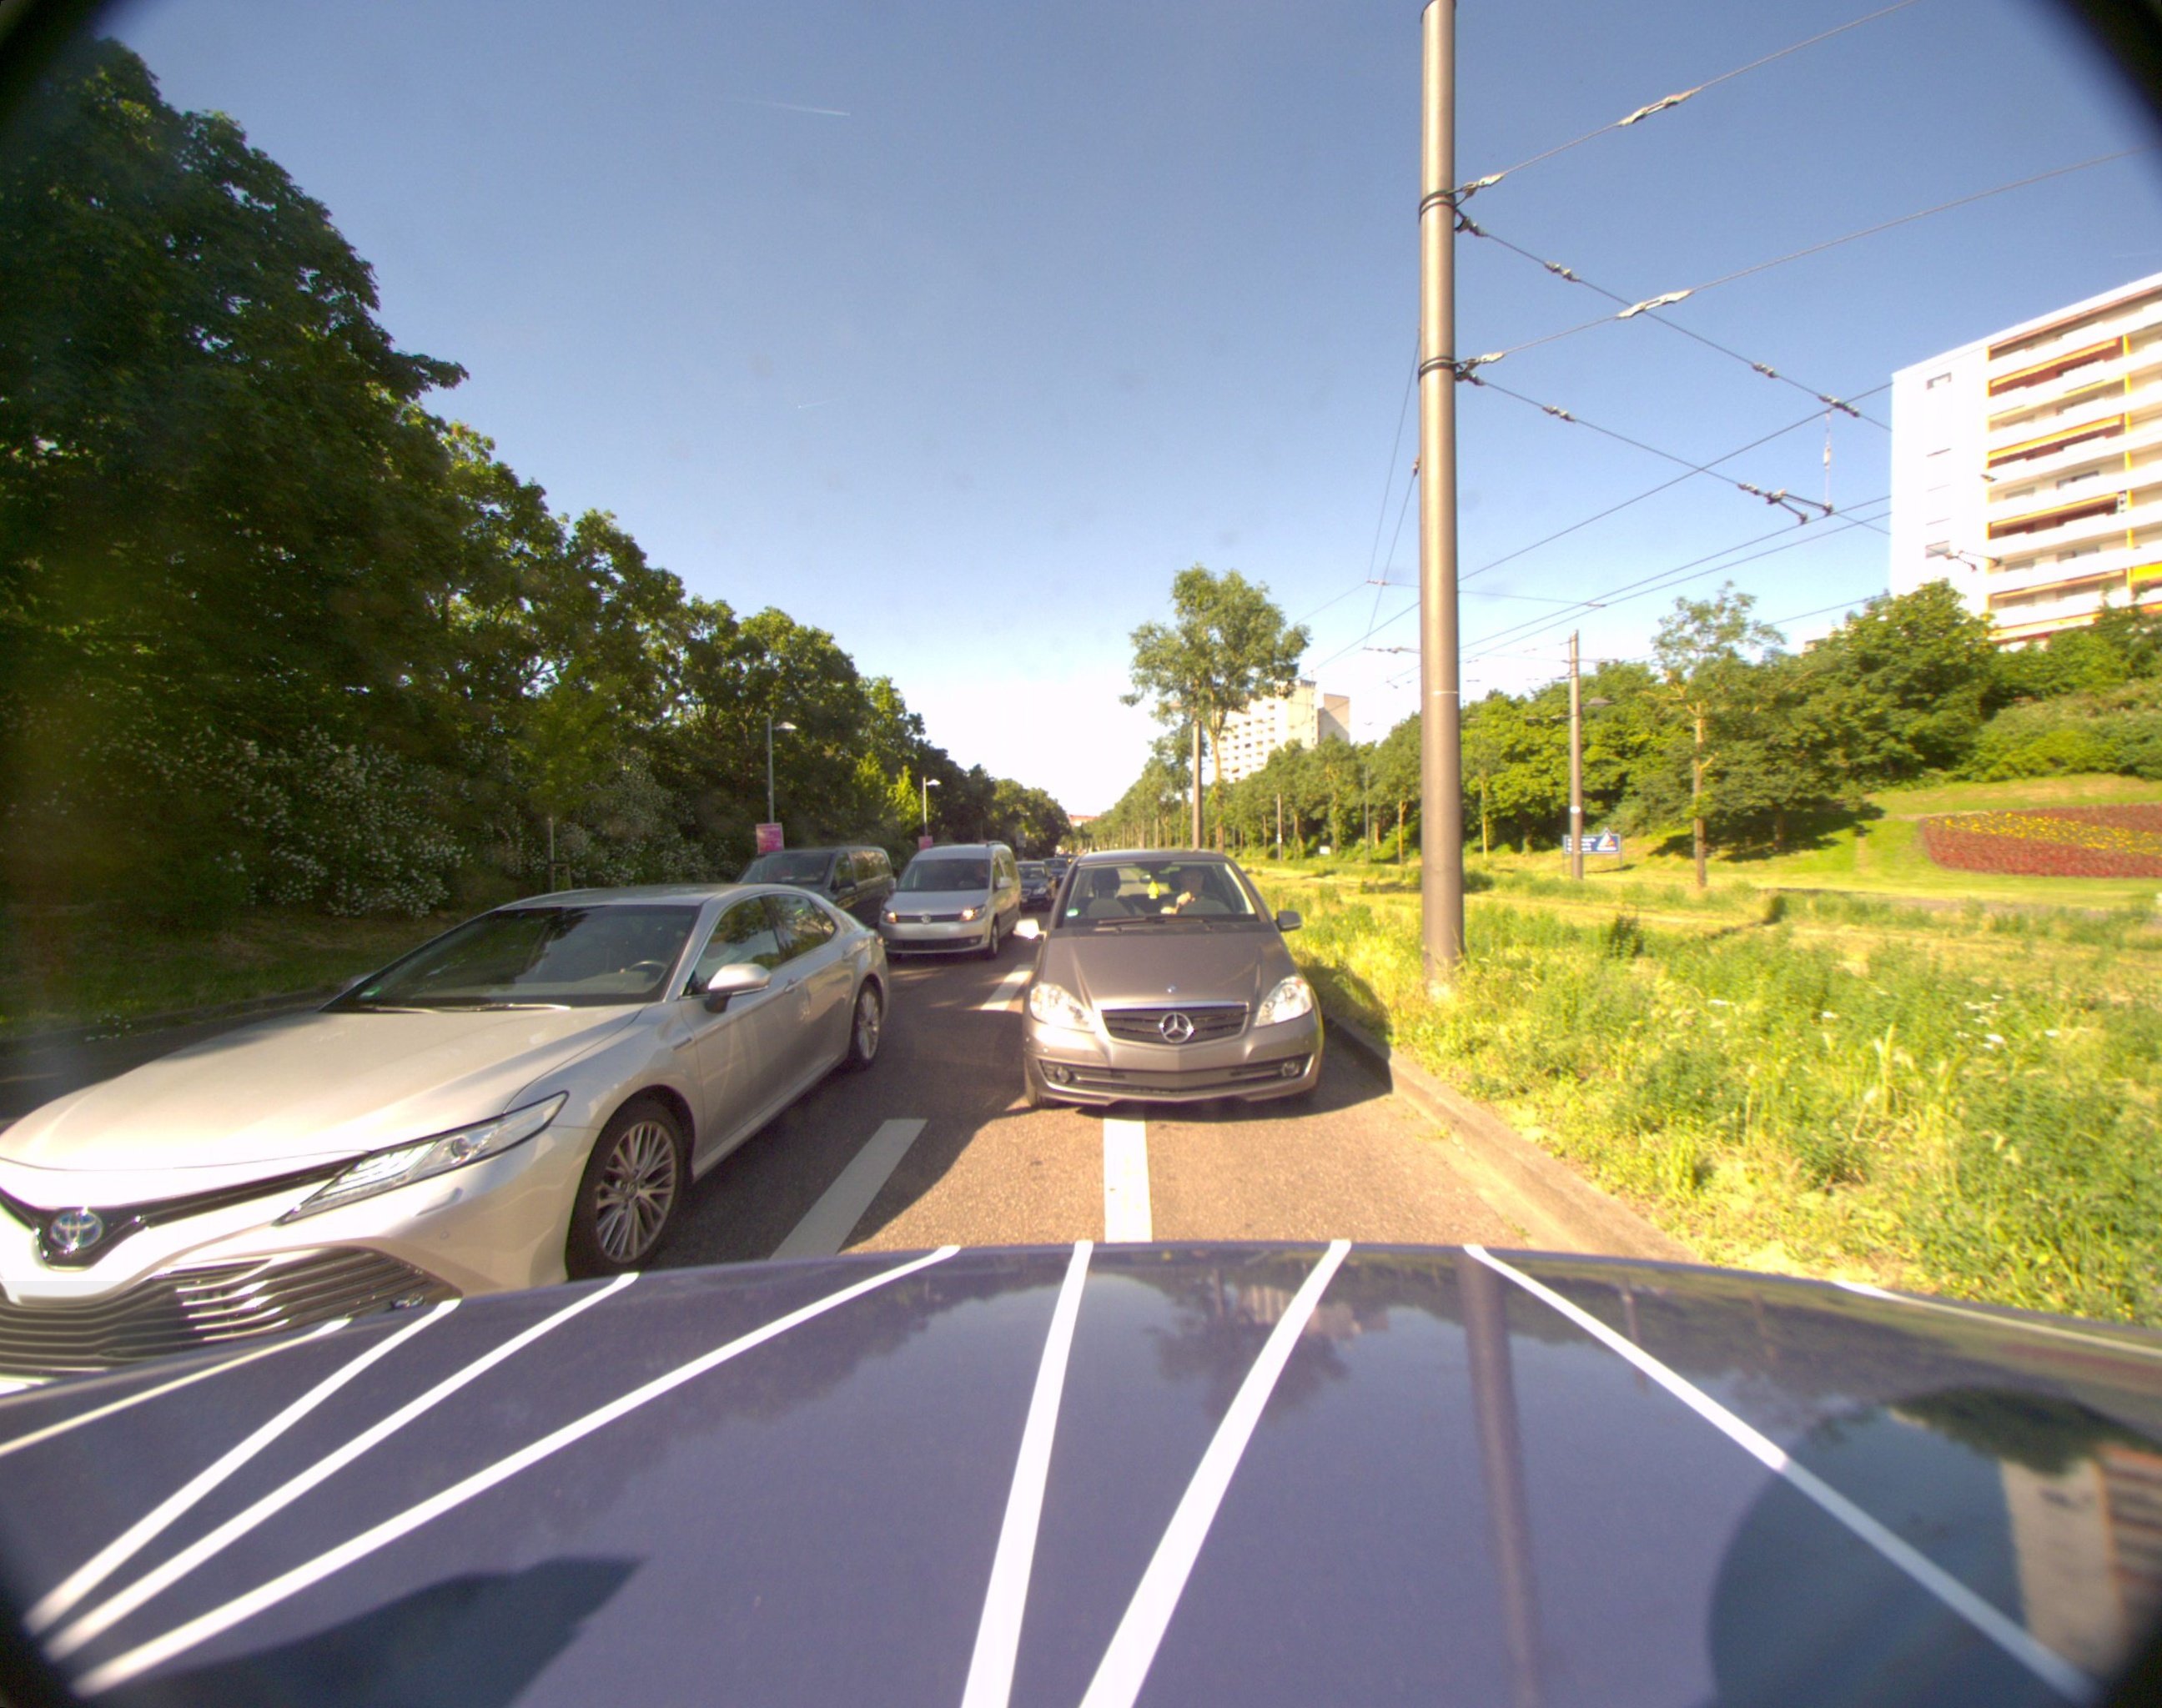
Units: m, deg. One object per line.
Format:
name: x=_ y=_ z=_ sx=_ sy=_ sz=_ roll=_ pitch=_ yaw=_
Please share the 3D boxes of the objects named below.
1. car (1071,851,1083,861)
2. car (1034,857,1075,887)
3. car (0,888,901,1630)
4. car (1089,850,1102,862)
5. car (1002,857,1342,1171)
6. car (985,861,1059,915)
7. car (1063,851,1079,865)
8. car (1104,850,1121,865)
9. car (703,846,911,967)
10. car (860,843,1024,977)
car: x=-0.568 y=0.313 z=117.739 sx=1.777 sy=1.597 sz=4.384 roll=-1 pitch=0 yaw=1
car: x=-1.269 y=0.853 z=37.758 sx=1.776 sy=1.395 sz=4.067 roll=-1 pitch=0 yaw=2
car: x=-2.650 y=1.042 z=4.117 sx=2.069 sy=1.451 sz=4.749 roll=-1 pitch=0 yaw=2
car: x=2.092 y=0.277 z=108.266 sx=1.777 sy=1.597 sz=4.384 roll=-1 pitch=0 yaw=1
car: x=0.510 y=0.858 z=6.201 sx=1.777 sy=1.597 sz=4.384 roll=-1 pitch=0 yaw=1
car: x=-1.672 y=0.948 z=22.878 sx=1.776 sy=1.395 sz=4.067 roll=-1 pitch=0 yaw=2
car: x=-1.153 y=0.403 z=90.844 sx=1.777 sy=1.597 sz=4.384 roll=-1 pitch=0 yaw=1
car: x=3.610 y=0.373 z=87.088 sx=1.777 sy=1.597 sz=4.384 roll=-1 pitch=0 yaw=1
car: x=-4.908 y=0.818 z=14.587 sx=1.998 sy=1.882 sz=5.148 roll=-1 pitch=0 yaw=1
car: x=-2.143 y=0.789 z=13.111 sx=1.822 sy=1.893 sz=4.622 roll=-1 pitch=0 yaw=2
